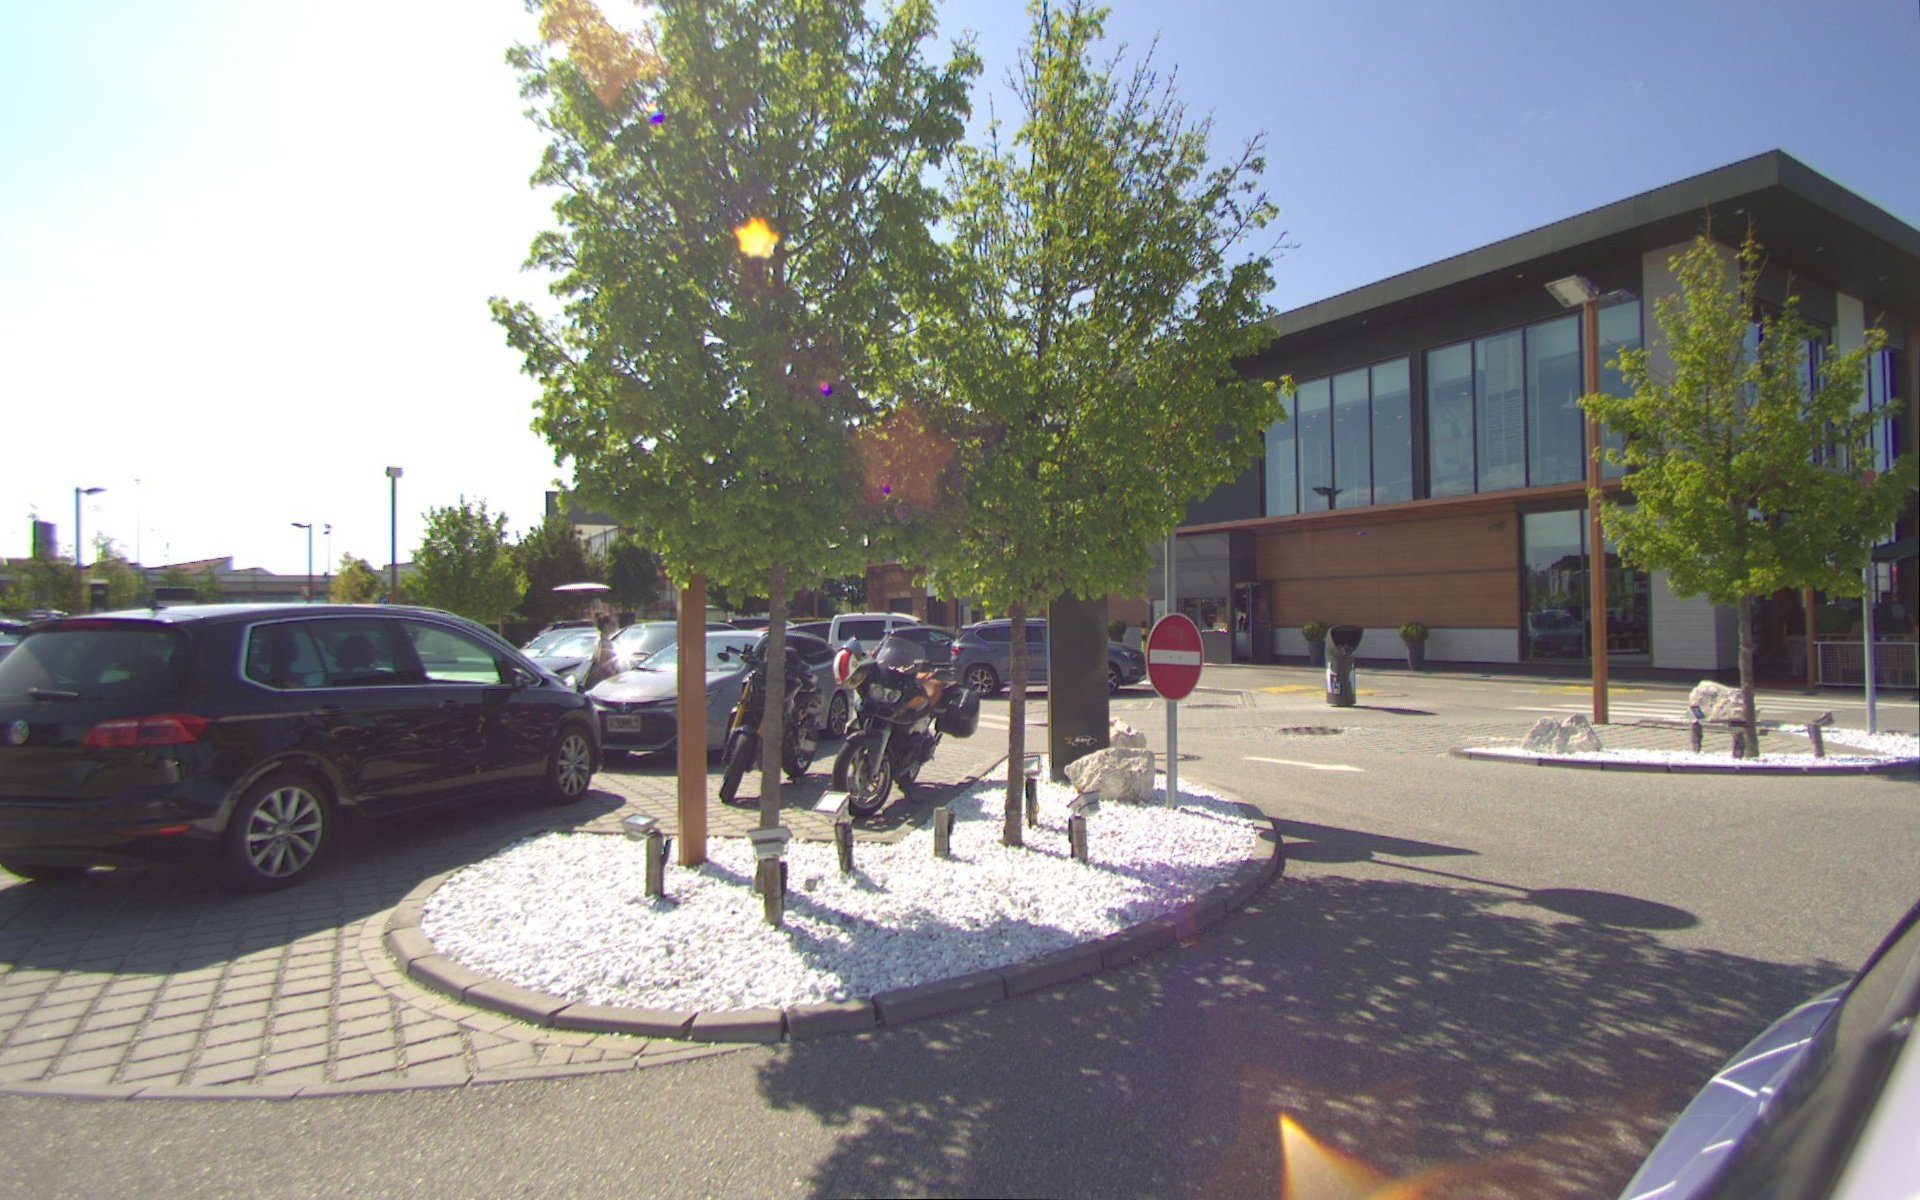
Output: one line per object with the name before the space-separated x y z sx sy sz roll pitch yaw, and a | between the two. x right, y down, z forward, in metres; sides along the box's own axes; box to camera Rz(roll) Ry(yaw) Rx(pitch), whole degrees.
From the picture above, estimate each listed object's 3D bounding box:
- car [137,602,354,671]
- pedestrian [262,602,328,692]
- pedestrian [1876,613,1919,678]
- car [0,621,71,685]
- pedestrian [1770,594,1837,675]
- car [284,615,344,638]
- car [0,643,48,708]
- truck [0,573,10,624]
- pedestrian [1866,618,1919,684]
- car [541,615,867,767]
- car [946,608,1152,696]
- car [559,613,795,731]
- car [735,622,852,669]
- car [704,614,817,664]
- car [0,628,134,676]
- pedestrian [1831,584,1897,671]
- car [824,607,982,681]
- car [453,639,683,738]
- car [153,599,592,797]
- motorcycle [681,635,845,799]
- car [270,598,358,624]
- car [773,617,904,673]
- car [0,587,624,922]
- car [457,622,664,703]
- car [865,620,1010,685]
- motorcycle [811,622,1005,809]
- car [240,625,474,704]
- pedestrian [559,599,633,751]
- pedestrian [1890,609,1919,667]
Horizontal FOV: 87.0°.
car | -16.266 0.815 23.287 1.682 1.444 3.883 -1 -2 16
pedestrian | -14.672 1.019 22.366 1.007 1.940 0.904 0 -2 -19
pedestrian | 17.008 0.809 18.219 0.514 1.138 0.634 1 -2 -35
car | -25.787 1.357 26.250 3.982 1.576 1.804 0 -1 4
pedestrian | 17.042 0.688 20.446 0.713 1.604 0.742 0 -2 -22
car | -51.222 2.086 80.267 3.924 1.750 1.894 0 -2 -36
car | -23.759 1.743 23.331 4.609 1.429 1.706 -1 -1 12
truck | -67.593 -0.094 66.954 7.426 3.395 2.420 0 -1 2
pedestrian | 16.470 0.892 17.836 0.514 1.138 0.634 1 -2 -35
car | -2.782 0.988 12.282 1.809 1.466 4.638 -1 -3 15
car | 1.960 1.100 21.771 4.163 1.623 1.784 -3 0 13
car | -4.313 1.032 16.122 1.787 1.614 3.977 -1 -1 17
car | -5.532 1.511 33.958 3.698 1.462 1.675 -1 -1 -3
car | -7.283 1.397 37.088 3.956 1.727 1.677 -1 -1 -9
car | -28.759 1.633 32.250 3.717 1.441 1.906 -1 -1 12
pedestrian | 19.259 0.580 21.560 0.789 1.791 0.895 1 -2 -40
car | -1.521 1.202 27.855 4.076 1.946 1.754 -1 -1 9
car | -6.827 1.472 18.125 1.802 1.467 4.055 -1 -1 15
car | -5.828 0.880 10.710 1.722 1.661 4.049 -1 -2 13
motorcycle | -1.637 0.933 8.826 0.806 1.247 2.136 -1 -2 6
car | -56.454 0.960 88.599 6.442 2.273 2.301 0 -2 -32
car | -3.666 1.347 30.949 3.774 1.653 1.757 0 -1 3
car | -4.239 0.765 6.969 1.866 1.556 4.176 -1 -1 11
car | -8.371 1.246 21.690 1.859 1.530 4.521 -1 -1 14
car | -0.523 1.273 24.888 3.358 1.501 1.564 -1 -1 8
motorcycle | -0.321 0.847 8.077 1.054 1.267 2.244 -2 -3 10
car | -13.198 1.338 22.503 1.955 1.530 4.397 -1 -1 14
pedestrian | -4.284 0.867 11.926 0.603 1.735 0.559 -1 -2 22
pedestrian | 18.820 0.739 19.936 0.643 1.115 0.573 1 -2 -33
